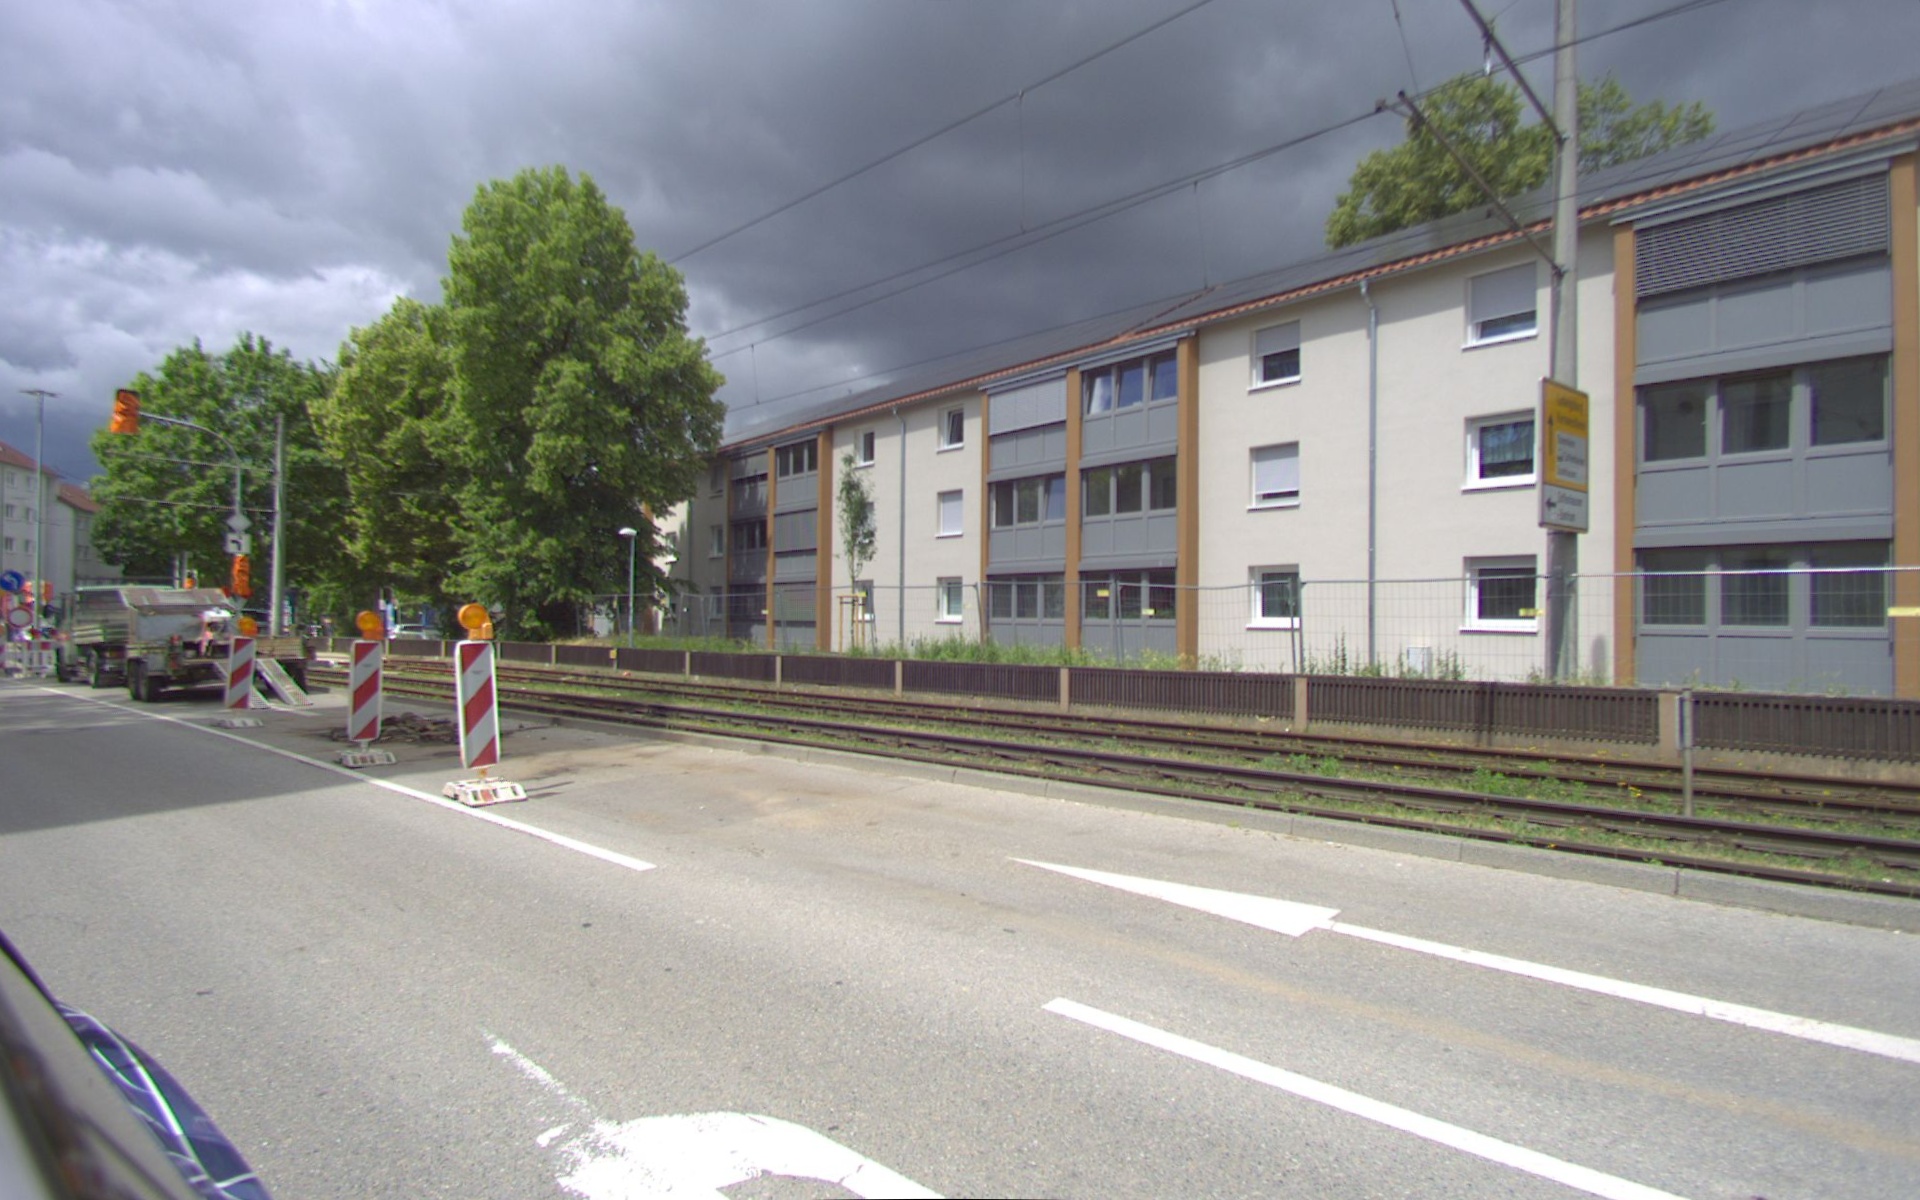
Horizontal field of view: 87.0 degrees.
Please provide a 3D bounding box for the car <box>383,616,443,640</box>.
[{"bbox_3d":[-34.181,1.777,63.268,3.150,1.466,1.568,2,-2,-35],"label":"car"}]

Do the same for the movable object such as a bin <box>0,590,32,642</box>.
[{"bbox_3d":[-50.033,0.804,51.322,2.080,2.689,5.604,1,-1,-16],"label":"movable object such as a bin"}]

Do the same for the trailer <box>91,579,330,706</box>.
[{"bbox_3d":[-15.559,0.766,20.846,6.244,2.230,2.635,-1,0,41],"label":"trailer"}]

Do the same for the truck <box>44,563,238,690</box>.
[{"bbox_3d":[-20.352,0.604,25.017,6.391,2.746,2.635,-1,0,41],"label":"truck"}]

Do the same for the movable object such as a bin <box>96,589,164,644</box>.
[{"bbox_3d":[-72.177,1.506,88.142,2.777,4.570,6.229,1,-2,-22],"label":"movable object such as a bin"}]

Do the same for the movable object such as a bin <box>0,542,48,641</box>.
[{"bbox_3d":[-55.327,-0.534,54.937,2.787,5.527,9.017,0,-2,6],"label":"movable object such as a bin"}]

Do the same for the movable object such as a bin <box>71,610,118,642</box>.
[{"bbox_3d":[-68.300,2.068,79.926,1.965,2.428,4.012,1,-2,-28],"label":"movable object such as a bin"}]
